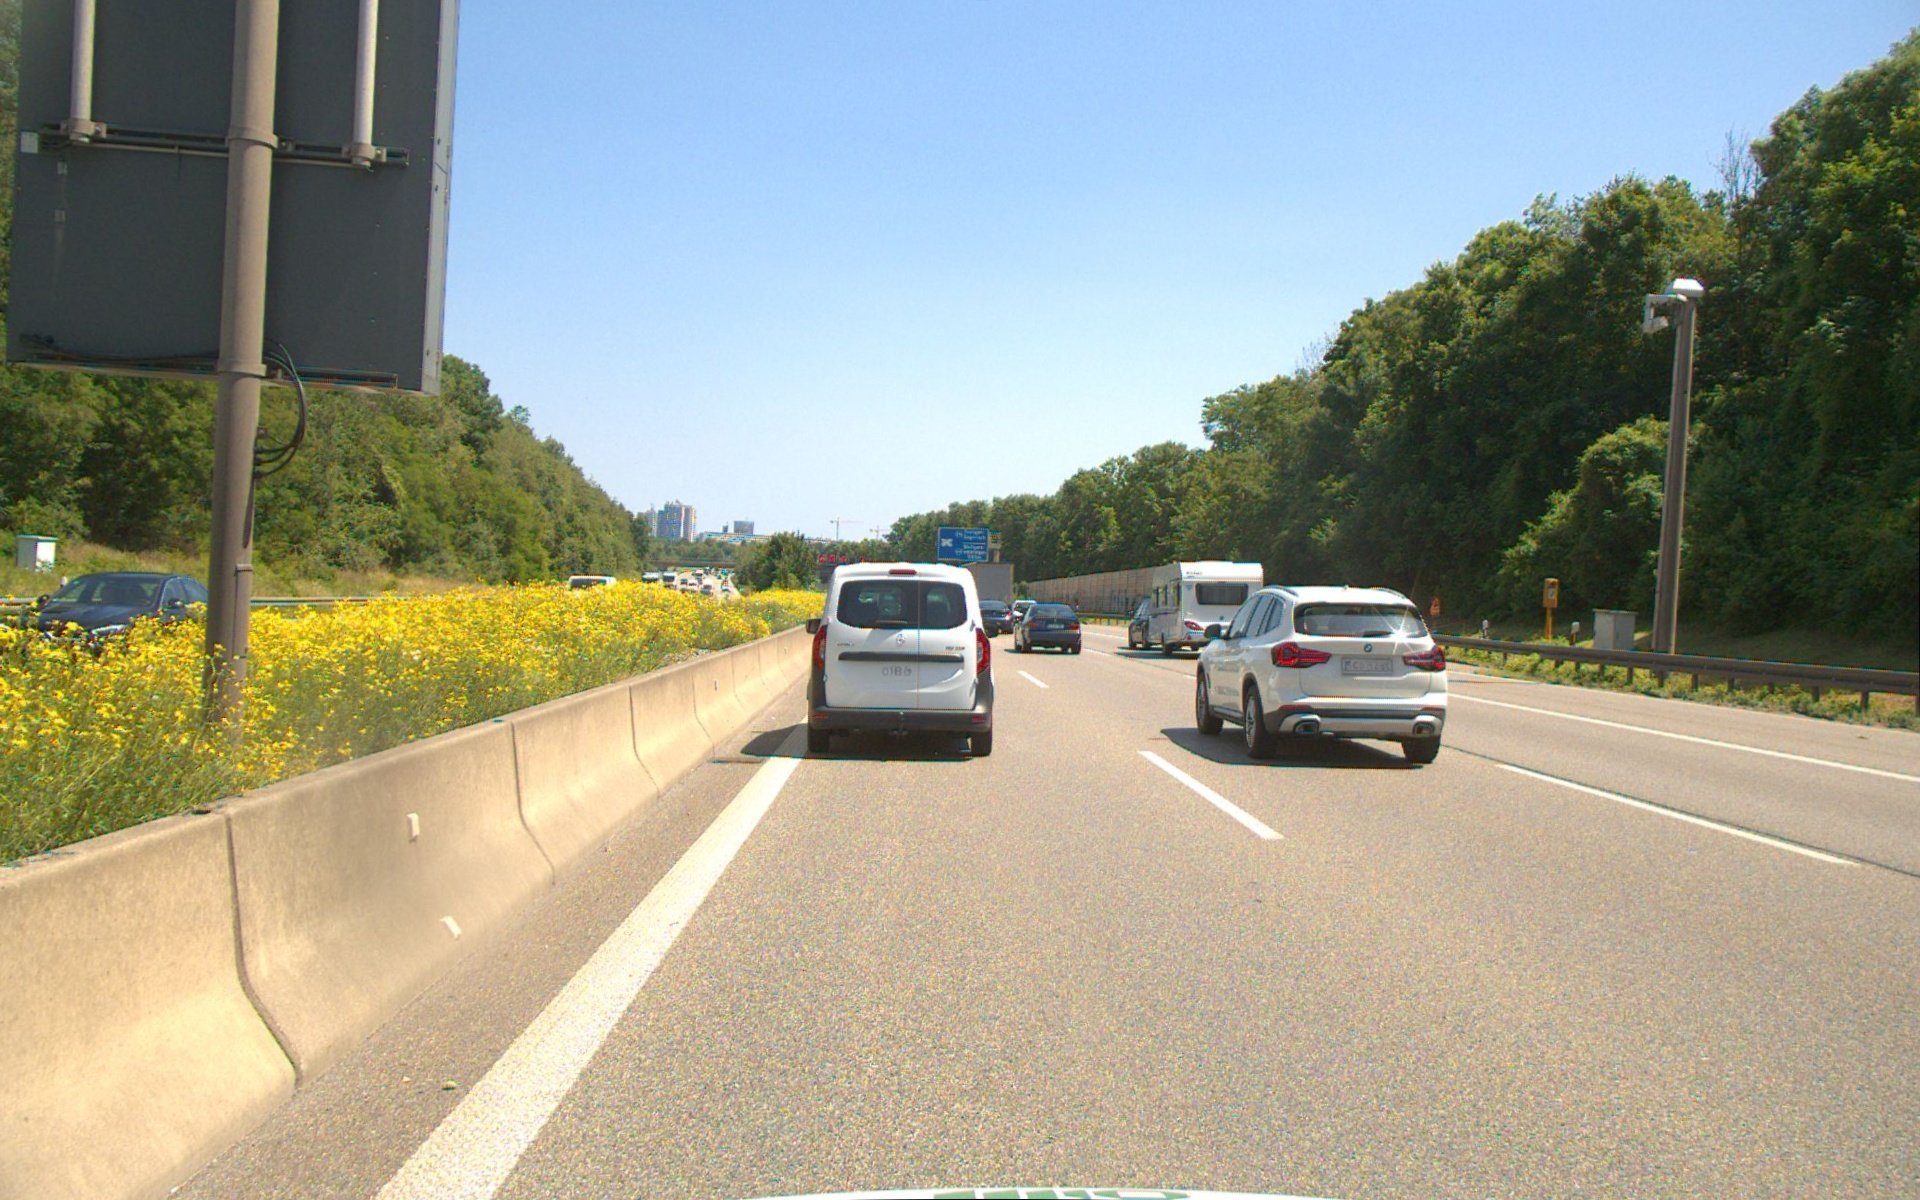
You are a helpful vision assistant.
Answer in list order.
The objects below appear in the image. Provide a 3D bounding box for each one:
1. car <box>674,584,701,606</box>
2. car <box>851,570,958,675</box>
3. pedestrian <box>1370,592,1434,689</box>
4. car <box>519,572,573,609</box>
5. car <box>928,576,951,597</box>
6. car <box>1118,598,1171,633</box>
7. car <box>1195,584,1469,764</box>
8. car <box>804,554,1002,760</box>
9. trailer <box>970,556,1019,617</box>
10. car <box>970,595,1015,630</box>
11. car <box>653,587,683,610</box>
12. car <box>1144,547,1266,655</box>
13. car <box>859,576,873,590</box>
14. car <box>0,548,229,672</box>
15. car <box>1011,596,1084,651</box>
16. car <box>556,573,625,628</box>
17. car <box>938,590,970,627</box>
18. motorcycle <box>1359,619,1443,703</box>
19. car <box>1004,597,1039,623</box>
[{"bbox_3d":[-22.444,-0.430,136.435,1.761,1.747,3.997,1,0,-4],"label":"car"},{"bbox_3d":[-1.054,0.408,32.632,1.953,1.892,3.999,1,0,-1],"label":"car"},{"bbox_3d":[7.029,0.635,26.346,0.834,1.504,0.638,2,1,3],"label":"pedestrian"},{"bbox_3d":[-21.185,-0.475,84.826,1.954,1.786,3.997,1,0,-3],"label":"car"},{"bbox_3d":[-2.110,-1.386,166.673,1.955,2.049,3.995,1,0,-6],"label":"car"},{"bbox_3d":[7.996,0.650,72.047,1.787,1.449,3.999,1,0,-1],"label":"car"},{"bbox_3d":[3.715,0.690,17.225,1.833,1.636,3.877,1,0,-2],"label":"car"},{"bbox_3d":[-0.569,0.513,17.037,1.766,1.839,3.999,1,0,-2],"label":"car"},{"bbox_3d":[2.395,-0.914,117.444,3.019,4.055,10.321,1,0,-1],"label":"trailer"},{"bbox_3d":[1.399,0.525,71.726,1.787,1.449,3.999,1,0,-1],"label":"car"},{"bbox_3d":[-21.480,-0.128,121.816,1.761,1.642,3.997,1,0,-4],"label":"car"},{"bbox_3d":[6.870,0.023,47.118,2.428,2.814,6.218,1,0,-1],"label":"car"},{"bbox_3d":[-14.787,-2.686,259.678,1.953,2.049,3.999,1,0,-1],"label":"car"},{"bbox_3d":[-11.881,0.110,22.920,1.805,1.545,3.868,1,0,-1],"label":"car"},{"bbox_3d":[2.467,0.636,47.303,1.787,1.449,3.999,1,0,-1],"label":"car"},{"bbox_3d":[-14.542,0.012,65.242,1.954,2.049,3.998,1,0,-3],"label":"car"},{"bbox_3d":[-0.384,0.475,96.285,1.787,2.024,3.999,1,0,-1],"label":"car"},{"bbox_3d":[7.030,0.944,26.489,0.841,1.202,2.278,2,1,3],"label":"motorcycle"},{"bbox_3d":[3.549,0.552,95.630,1.787,1.449,3.999,1,0,-1],"label":"car"}]
